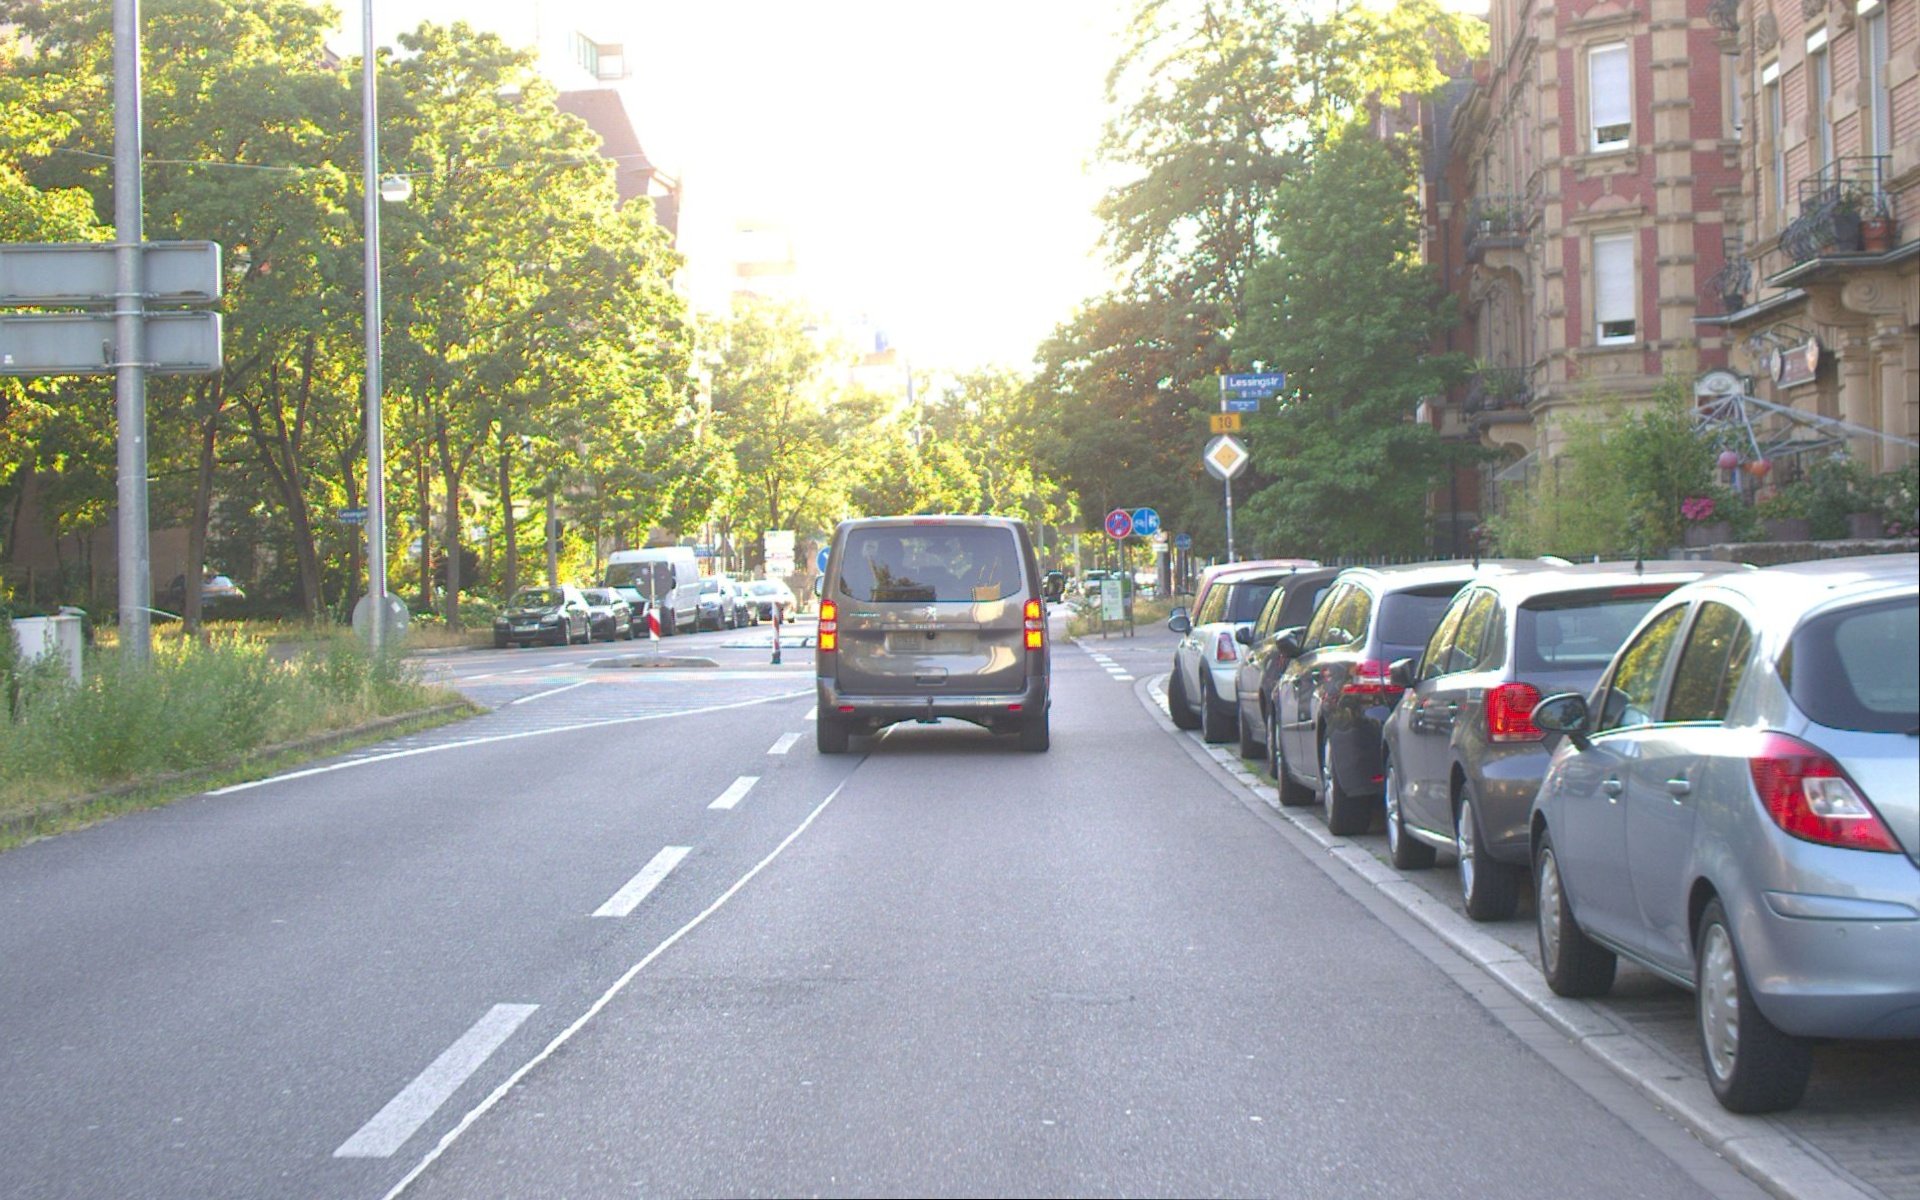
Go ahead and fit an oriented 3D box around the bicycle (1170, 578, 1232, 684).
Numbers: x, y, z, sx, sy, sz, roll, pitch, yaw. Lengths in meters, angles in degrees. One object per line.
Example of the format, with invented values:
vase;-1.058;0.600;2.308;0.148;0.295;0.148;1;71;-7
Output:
bicycle;3.127;0.409;44.711;0.565;1.295;2.265;-5;-1;1

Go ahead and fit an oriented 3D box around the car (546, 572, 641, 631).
car;-9.439;0.023;88.822;1.628;1.424;4.242;-2;1;4

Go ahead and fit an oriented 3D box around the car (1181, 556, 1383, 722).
car;3.195;0.355;34.633;1.726;1.460;3.546;-4;1;2

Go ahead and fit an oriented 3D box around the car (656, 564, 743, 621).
car;-7.845;-0.245;103.805;1.866;1.639;4.570;-2;0;5

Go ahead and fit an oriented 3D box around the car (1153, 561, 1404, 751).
car;2.692;0.440;29.762;1.677;1.421;3.677;-4;1;-1

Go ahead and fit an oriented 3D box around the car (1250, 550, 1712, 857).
car;2.872;0.513;19.947;1.887;1.443;4.464;-4;1;0

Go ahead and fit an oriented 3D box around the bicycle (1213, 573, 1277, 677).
bicycle;3.702;0.336;44.708;0.565;1.271;2.265;-5;-1;1

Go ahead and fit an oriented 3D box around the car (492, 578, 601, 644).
car;-9.928;0.239;82.801;1.624;1.501;4.543;-2;0;5

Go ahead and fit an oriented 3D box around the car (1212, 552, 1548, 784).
car;2.981;0.436;25.260;1.887;1.421;4.342;-4;1;1

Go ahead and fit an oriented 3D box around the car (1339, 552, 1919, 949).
car;2.828;0.570;15.350;1.747;1.421;3.840;-4;1;0

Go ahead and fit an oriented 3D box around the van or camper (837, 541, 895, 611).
van or camper;-3.688;-0.960;135.791;1.993;2.659;6.038;1;1;1

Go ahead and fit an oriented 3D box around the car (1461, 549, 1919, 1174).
car;2.778;0.632;10.656;1.700;1.482;3.893;-4;1;-1

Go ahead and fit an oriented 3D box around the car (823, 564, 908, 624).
car;-2.919;-0.212;106.944;1.877;1.700;4.566;-4;0;7

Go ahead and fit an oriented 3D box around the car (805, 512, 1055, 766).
car;-0.237;0.279;28.530;1.887;1.918;3.839;-2;1;0

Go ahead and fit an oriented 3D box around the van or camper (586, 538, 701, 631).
van or camper;-8.835;-0.460;96.568;2.091;2.460;6.305;-2;1;4
